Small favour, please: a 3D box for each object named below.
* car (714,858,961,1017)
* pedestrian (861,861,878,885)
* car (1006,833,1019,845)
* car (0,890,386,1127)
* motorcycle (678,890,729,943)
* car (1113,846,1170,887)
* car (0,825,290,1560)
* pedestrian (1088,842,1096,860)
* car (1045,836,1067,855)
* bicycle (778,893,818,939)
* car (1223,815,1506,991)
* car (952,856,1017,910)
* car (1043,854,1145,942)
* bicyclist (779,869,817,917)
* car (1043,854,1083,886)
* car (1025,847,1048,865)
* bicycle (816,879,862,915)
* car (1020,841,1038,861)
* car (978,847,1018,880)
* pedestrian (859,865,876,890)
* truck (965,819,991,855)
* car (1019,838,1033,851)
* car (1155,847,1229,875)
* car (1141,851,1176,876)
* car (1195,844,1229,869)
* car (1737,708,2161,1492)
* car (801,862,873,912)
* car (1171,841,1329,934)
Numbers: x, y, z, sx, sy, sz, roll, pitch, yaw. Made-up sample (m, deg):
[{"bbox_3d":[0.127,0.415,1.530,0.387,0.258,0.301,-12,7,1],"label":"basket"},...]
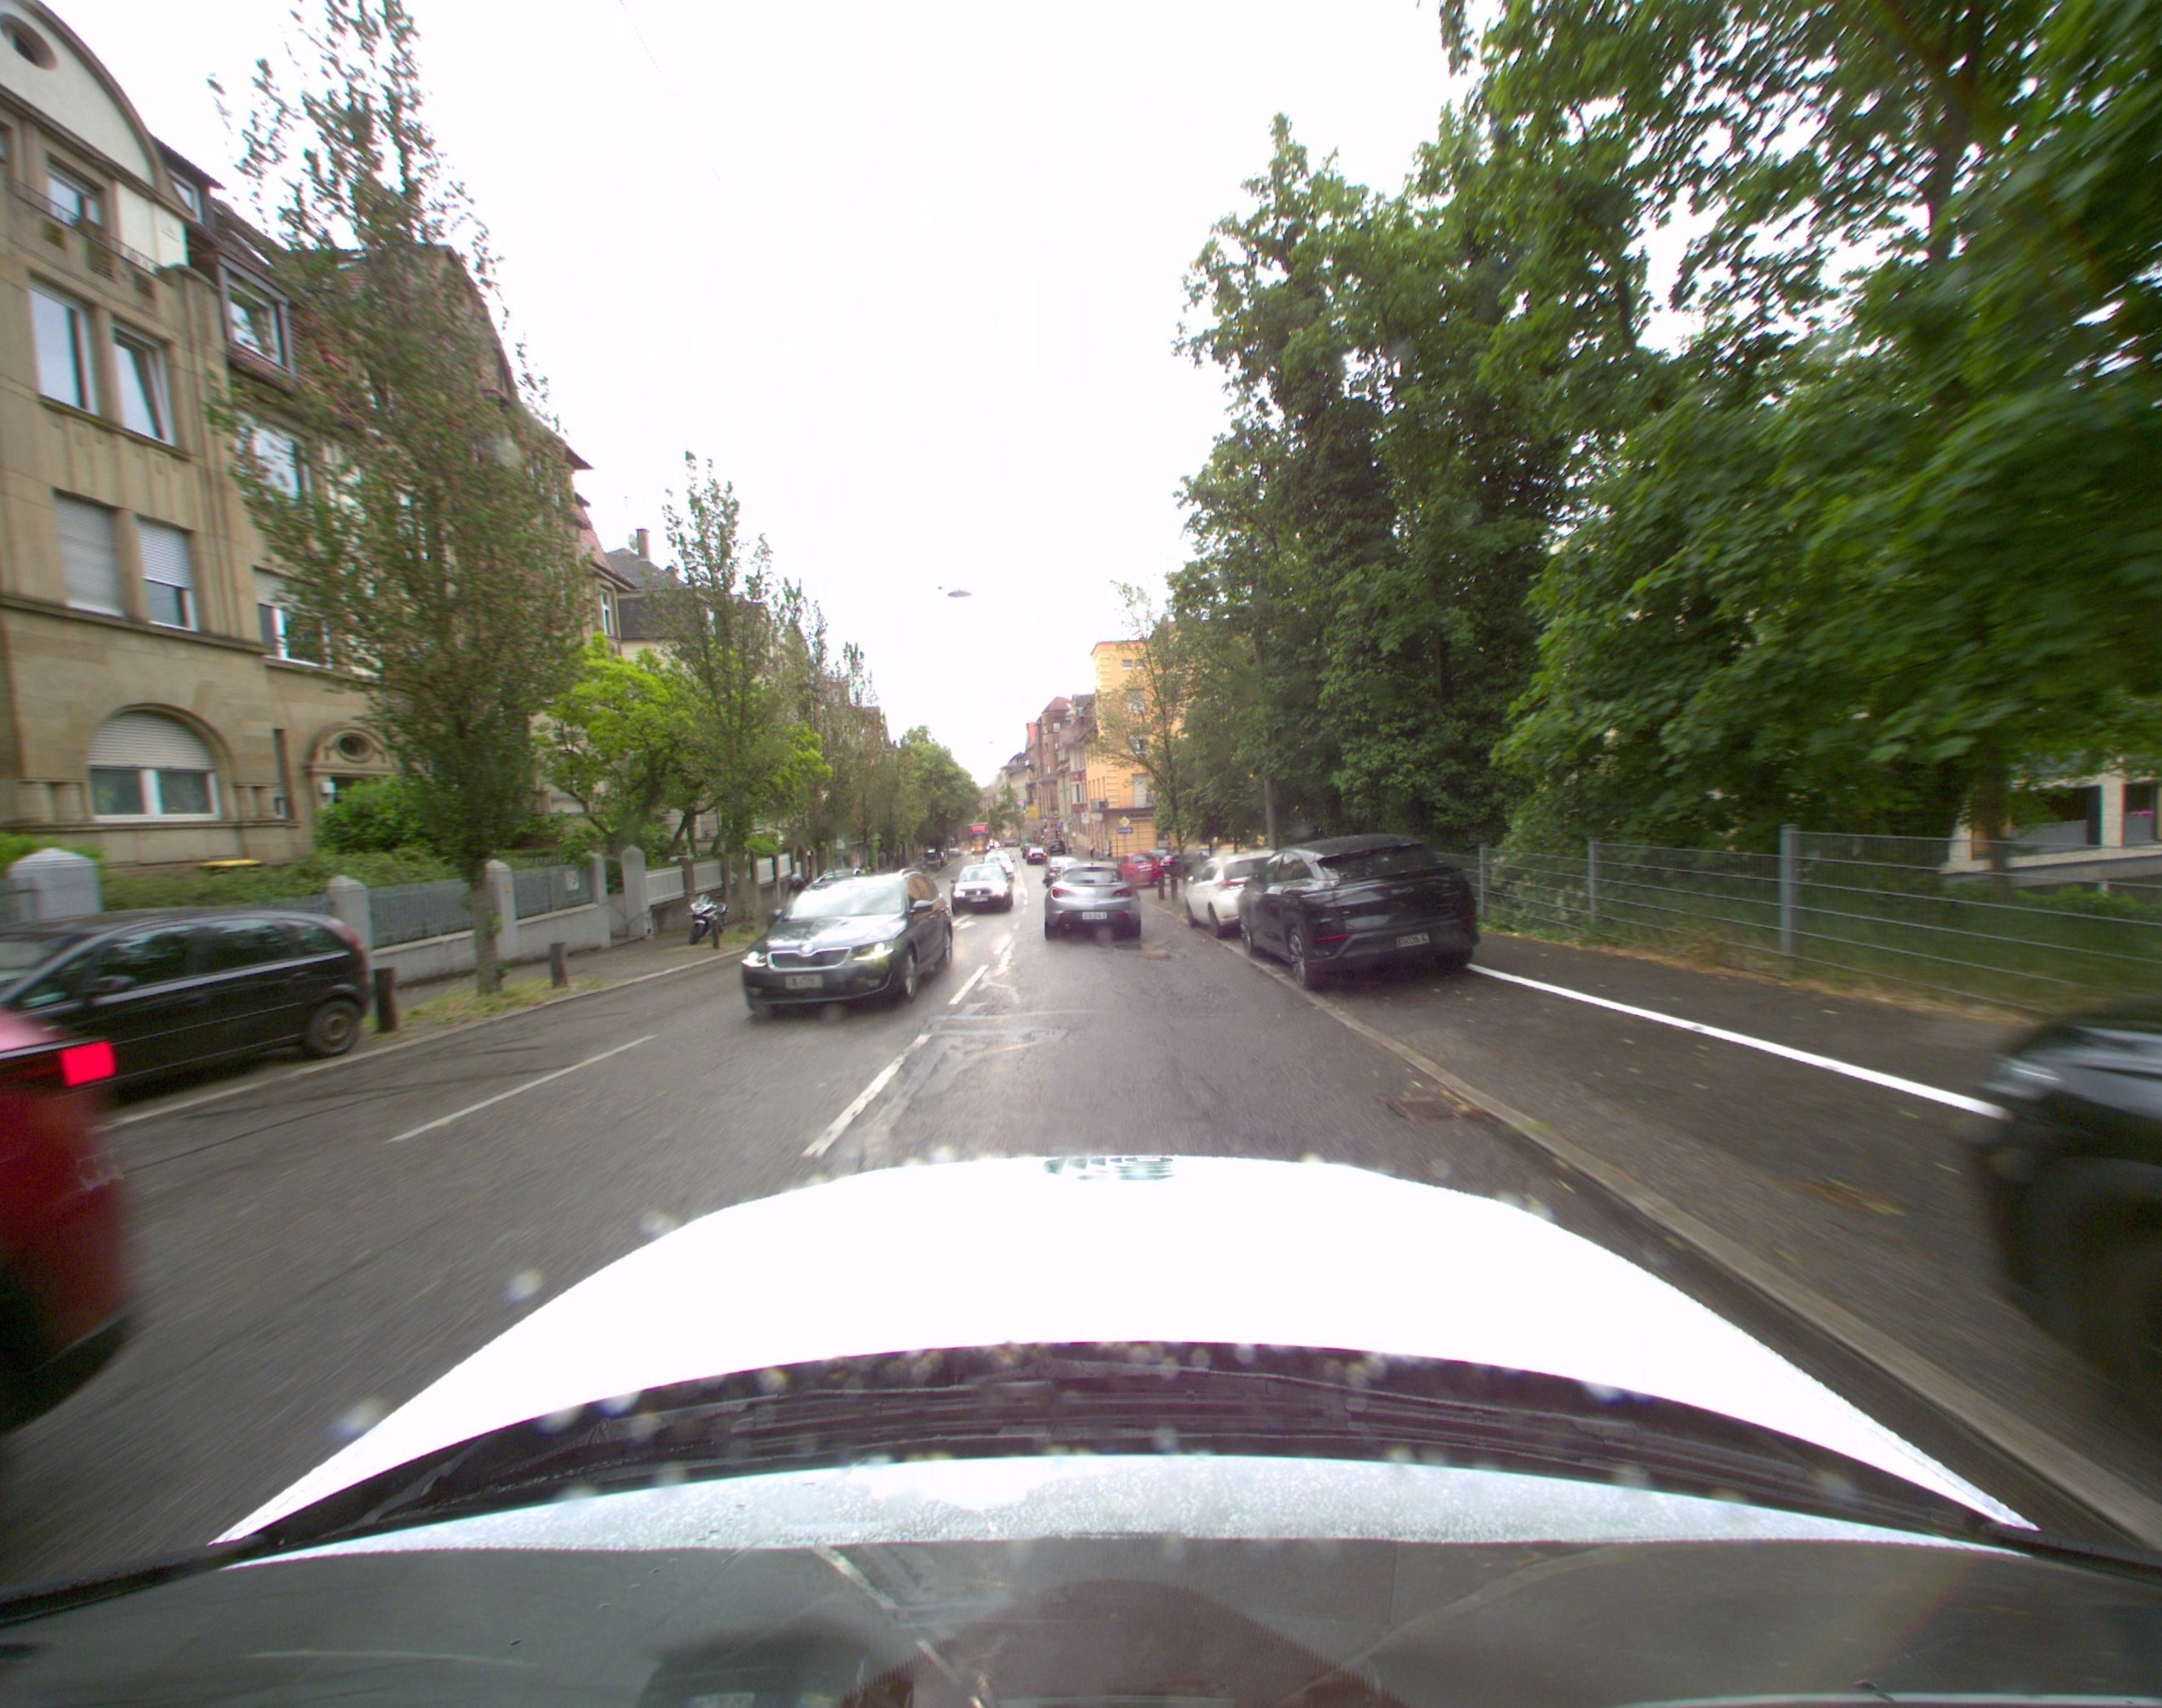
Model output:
[{"bbox_3d":[-2.753,0.846,10.304,1.732,1.473,4.281,-4,0,0],"label":"car"},{"bbox_3d":[-12.356,1.096,47.580,0.705,1.343,0.613,-6,0,-2],"label":"pedestrian"},{"bbox_3d":[-12.034,-2.599,142.509,1.782,1.855,3.986,-2,-1,-10],"label":"car"},{"bbox_3d":[-8.714,1.210,7.042,1.807,1.612,4.003,-1,0,3],"label":"car"},{"bbox_3d":[-9.346,1.519,20.258,0.653,1.121,2.146,-1,0,-12],"label":"motorcycle"},{"bbox_3d":[2.572,0.550,35.439,1.811,1.467,3.995,-7,0,-3],"label":"car"},{"bbox_3d":[-3.305,0.805,0.230,1.839,1.584,4.279,-5,0,0],"label":"car"},{"bbox_3d":[0.958,-0.271,69.778,0.611,1.496,0.552,-3,3,-2],"label":"pedestrian"},{"bbox_3d":[-2.643,-0.910,86.483,1.990,1.688,3.995,-8,1,-4],"label":"car"},{"bbox_3d":[-7.190,1.548,20.755,0.653,0.982,2.146,-1,0,-12],"label":"bicycle"},{"bbox_3d":[3.264,0.515,10.496,1.970,1.609,4.484,-5,-1,0],"label":"car"},{"bbox_3d":[-2.899,0.844,25.158,1.657,1.448,3.989,-3,0,-3],"label":"car"},{"bbox_3d":[0.201,0.808,16.824,1.810,1.429,3.998,-2,1,-1],"label":"car"},{"bbox_3d":[-7.208,0.974,20.788,0.771,1.169,1.078,-1,0,-12],"label":"bicyclist"},{"bbox_3d":[-0.892,0.729,38.880,1.772,1.430,3.781,-1,0,-3],"label":"car"},{"bbox_3d":[-3.788,0.137,68.840,1.765,1.415,3.710,0,0,-5],"label":"car"},{"bbox_3d":[-8.887,1.582,29.964,1.462,1.120,0.379,-6,1,-9],"label":"bicycle"},{"bbox_3d":[-5.278,-0.345,81.801,1.637,1.688,3.711,-3,4,-5],"label":"car"},{"bbox_3d":[-4.640,0.479,46.044,1.818,1.650,3.998,-4,0,-1],"label":"car"},{"bbox_3d":[-12.272,1.320,46.802,0.705,1.343,0.613,-6,0,-2],"label":"pedestrian"},{"bbox_3d":[-13.454,-2.349,107.180,2.787,4.131,10.828,-6,3,-6],"label":"truck"},{"bbox_3d":[-6.927,-1.244,103.181,1.637,1.536,3.710,-3,0,-5],"label":"car"},{"bbox_3d":[6.173,0.414,45.467,3.768,1.430,1.778,1,-1,-6],"label":"car"},{"bbox_3d":[5.035,0.581,52.455,1.764,1.429,3.798,-1,2,11],"label":"car"},{"bbox_3d":[8.676,0.129,53.791,1.763,1.429,3.802,-1,2,15],"label":"car"},{"bbox_3d":[3.096,0.471,0.354,1.814,1.683,4.807,-5,0,3],"label":"car"},{"bbox_3d":[-9.642,1.239,32.497,1.786,1.651,4.187,-6,1,-6],"label":"car"},{"bbox_3d":[3.184,0.612,16.246,1.972,1.452,4.108,-5,-1,-4],"label":"car"}]
